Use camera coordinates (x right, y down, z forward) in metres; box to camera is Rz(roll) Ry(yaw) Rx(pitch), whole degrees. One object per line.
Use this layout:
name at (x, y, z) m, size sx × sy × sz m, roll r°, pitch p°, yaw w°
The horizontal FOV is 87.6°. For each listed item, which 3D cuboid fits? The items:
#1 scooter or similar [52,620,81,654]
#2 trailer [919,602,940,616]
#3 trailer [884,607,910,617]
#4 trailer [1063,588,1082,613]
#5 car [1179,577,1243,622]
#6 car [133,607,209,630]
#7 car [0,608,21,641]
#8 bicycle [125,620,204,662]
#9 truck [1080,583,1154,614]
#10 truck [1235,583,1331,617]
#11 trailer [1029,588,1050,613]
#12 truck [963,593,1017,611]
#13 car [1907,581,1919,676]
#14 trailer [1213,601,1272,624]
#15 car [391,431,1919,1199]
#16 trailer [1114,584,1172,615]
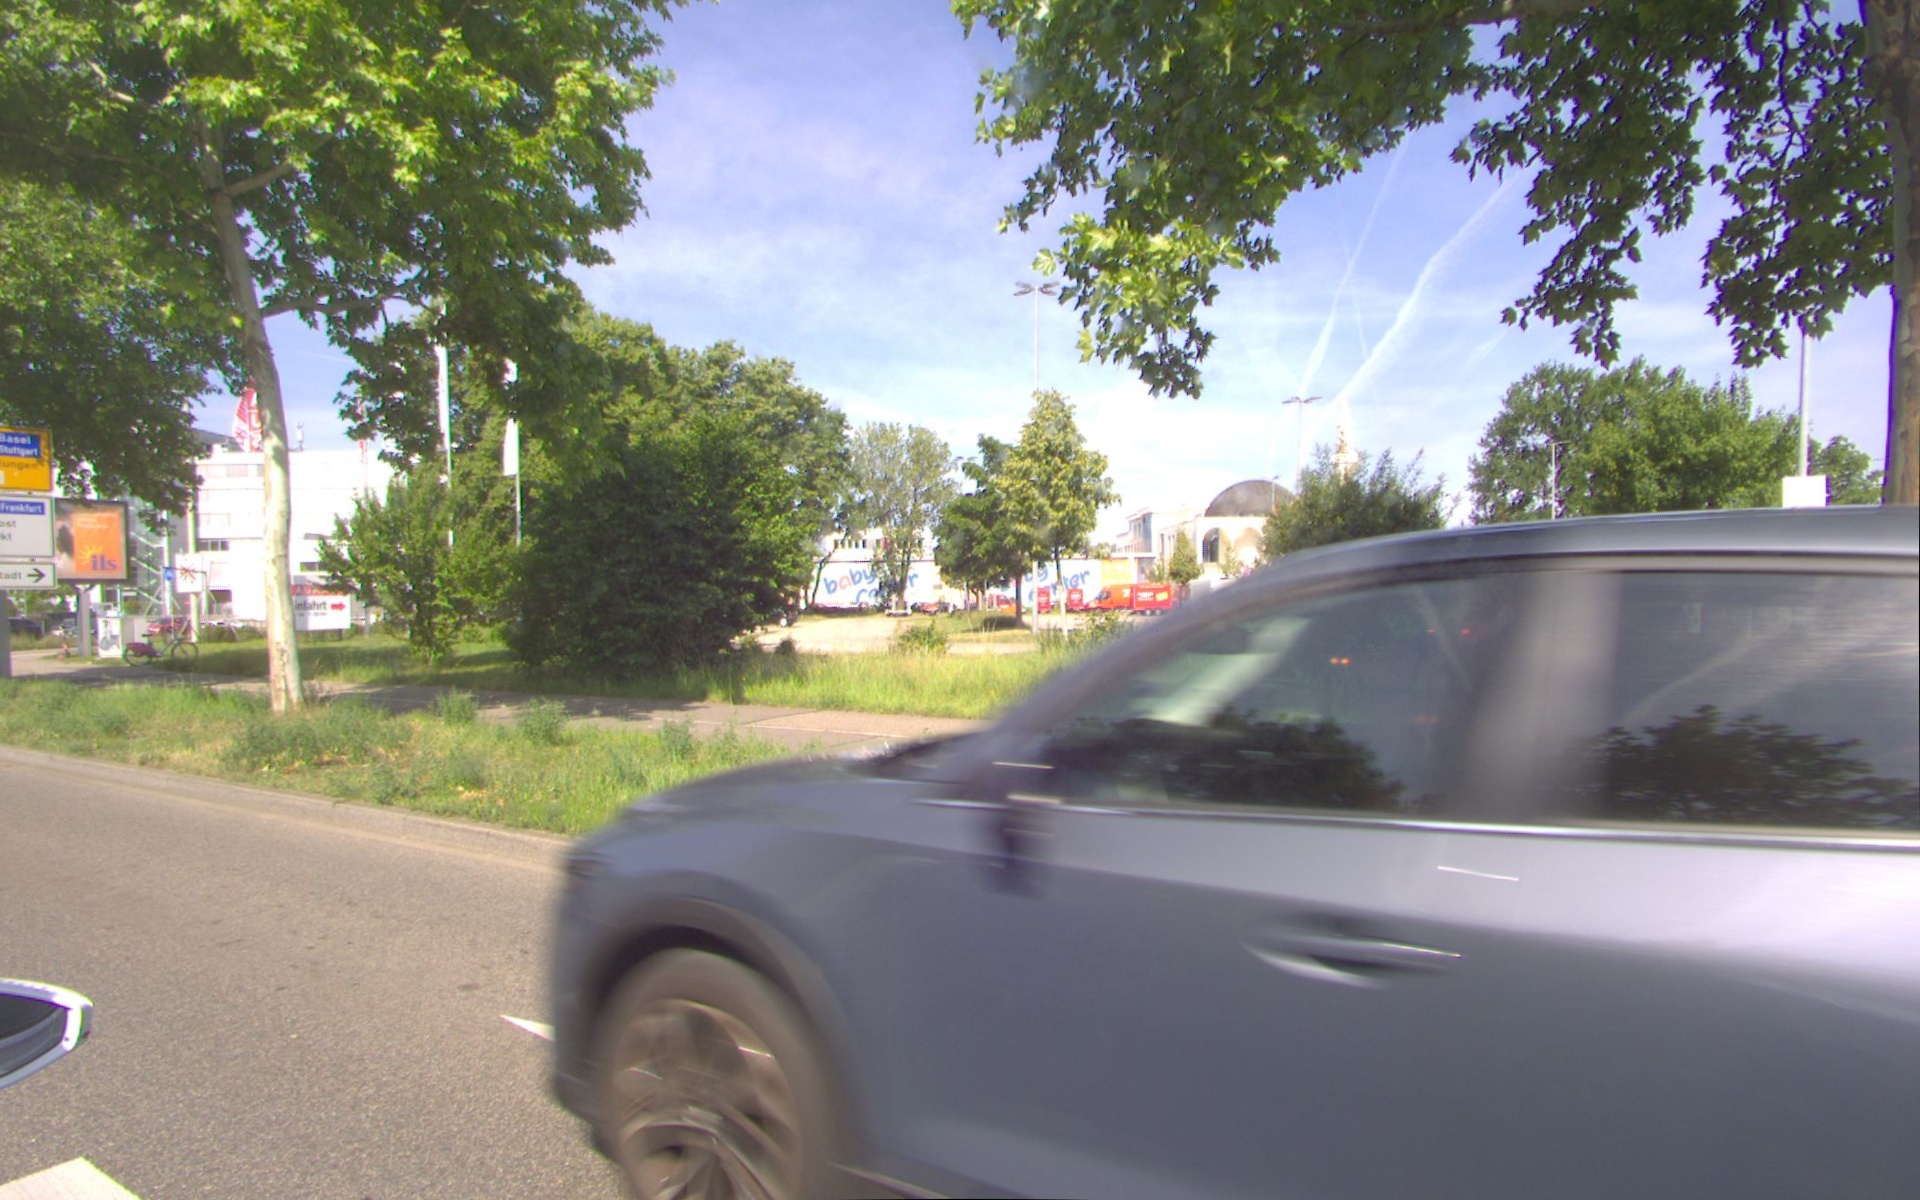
scooter or similar at (-29.895, 1.232, 33.500) m, size 1.107 × 1.141 × 0.423 m, roll 0°, pitch 1°, yaw 32°
trailer at (-2.937, 0.815, 95.654) m, size 1.560 × 1.304 × 4.409 m, roll -1°, pitch 0°, yaw -7°
trailer at (-5.951, 1.124, 94.906) m, size 2.059 × 0.792 × 4.411 m, roll -1°, pitch 0°, yaw 1°
trailer at (10.888, 0.038, 97.191) m, size 1.520 × 2.390 × 4.410 m, roll 0°, pitch 1°, yaw 2°
car at (15.514, -0.041, 62.222) m, size 1.980 × 2.576 × 5.687 m, roll -3°, pitch 0°, yaw -6°
car at (-54.007, 1.274, 68.625) m, size 1.747 × 1.463 × 4.625 m, roll -1°, pitch 0°, yaw -4°
car at (-50.147, 1.269, 50.235) m, size 1.879 × 1.711 × 4.625 m, roll -1°, pitch 0°, yaw -4°
bicycle at (-23.801, 1.212, 29.986) m, size 1.771 × 1.123 × 0.499 m, roll -3°, pitch 2°, yaw -40°
truck at (13.327, -0.133, 85.187) m, size 5.914 × 2.644 × 2.018 m, roll 0°, pitch 0°, yaw -6°
truck at (21.621, 0.007, 67.185) m, size 5.751 × 2.168 × 2.066 m, roll -1°, pitch 0°, yaw -1°
trailer at (7.741, 0.026, 97.809) m, size 1.560 × 2.408 × 4.410 m, roll 0°, pitch 1°, yaw -1°
truck at (3.358, 0.238, 112.922) m, size 5.888 × 1.855 × 2.188 m, roll 0°, pitch -2°, yaw -3°
car at (16.444, 0.469, 15.244) m, size 1.820 × 1.606 × 3.849 m, roll -1°, pitch 0°, yaw 25°
trailer at (15.933, 0.665, 56.631) m, size 2.029 × 1.137 × 4.031 m, roll -3°, pitch 0°, yaw -2°
car at (0.723, 0.682, 2.439) m, size 4.431 × 1.680 × 1.763 m, roll -1°, pitch -2°, yaw 32°
trailer at (14.503, -0.037, 79.451) m, size 4.325 × 2.409 × 1.751 m, roll 0°, pitch 1°, yaw 0°
